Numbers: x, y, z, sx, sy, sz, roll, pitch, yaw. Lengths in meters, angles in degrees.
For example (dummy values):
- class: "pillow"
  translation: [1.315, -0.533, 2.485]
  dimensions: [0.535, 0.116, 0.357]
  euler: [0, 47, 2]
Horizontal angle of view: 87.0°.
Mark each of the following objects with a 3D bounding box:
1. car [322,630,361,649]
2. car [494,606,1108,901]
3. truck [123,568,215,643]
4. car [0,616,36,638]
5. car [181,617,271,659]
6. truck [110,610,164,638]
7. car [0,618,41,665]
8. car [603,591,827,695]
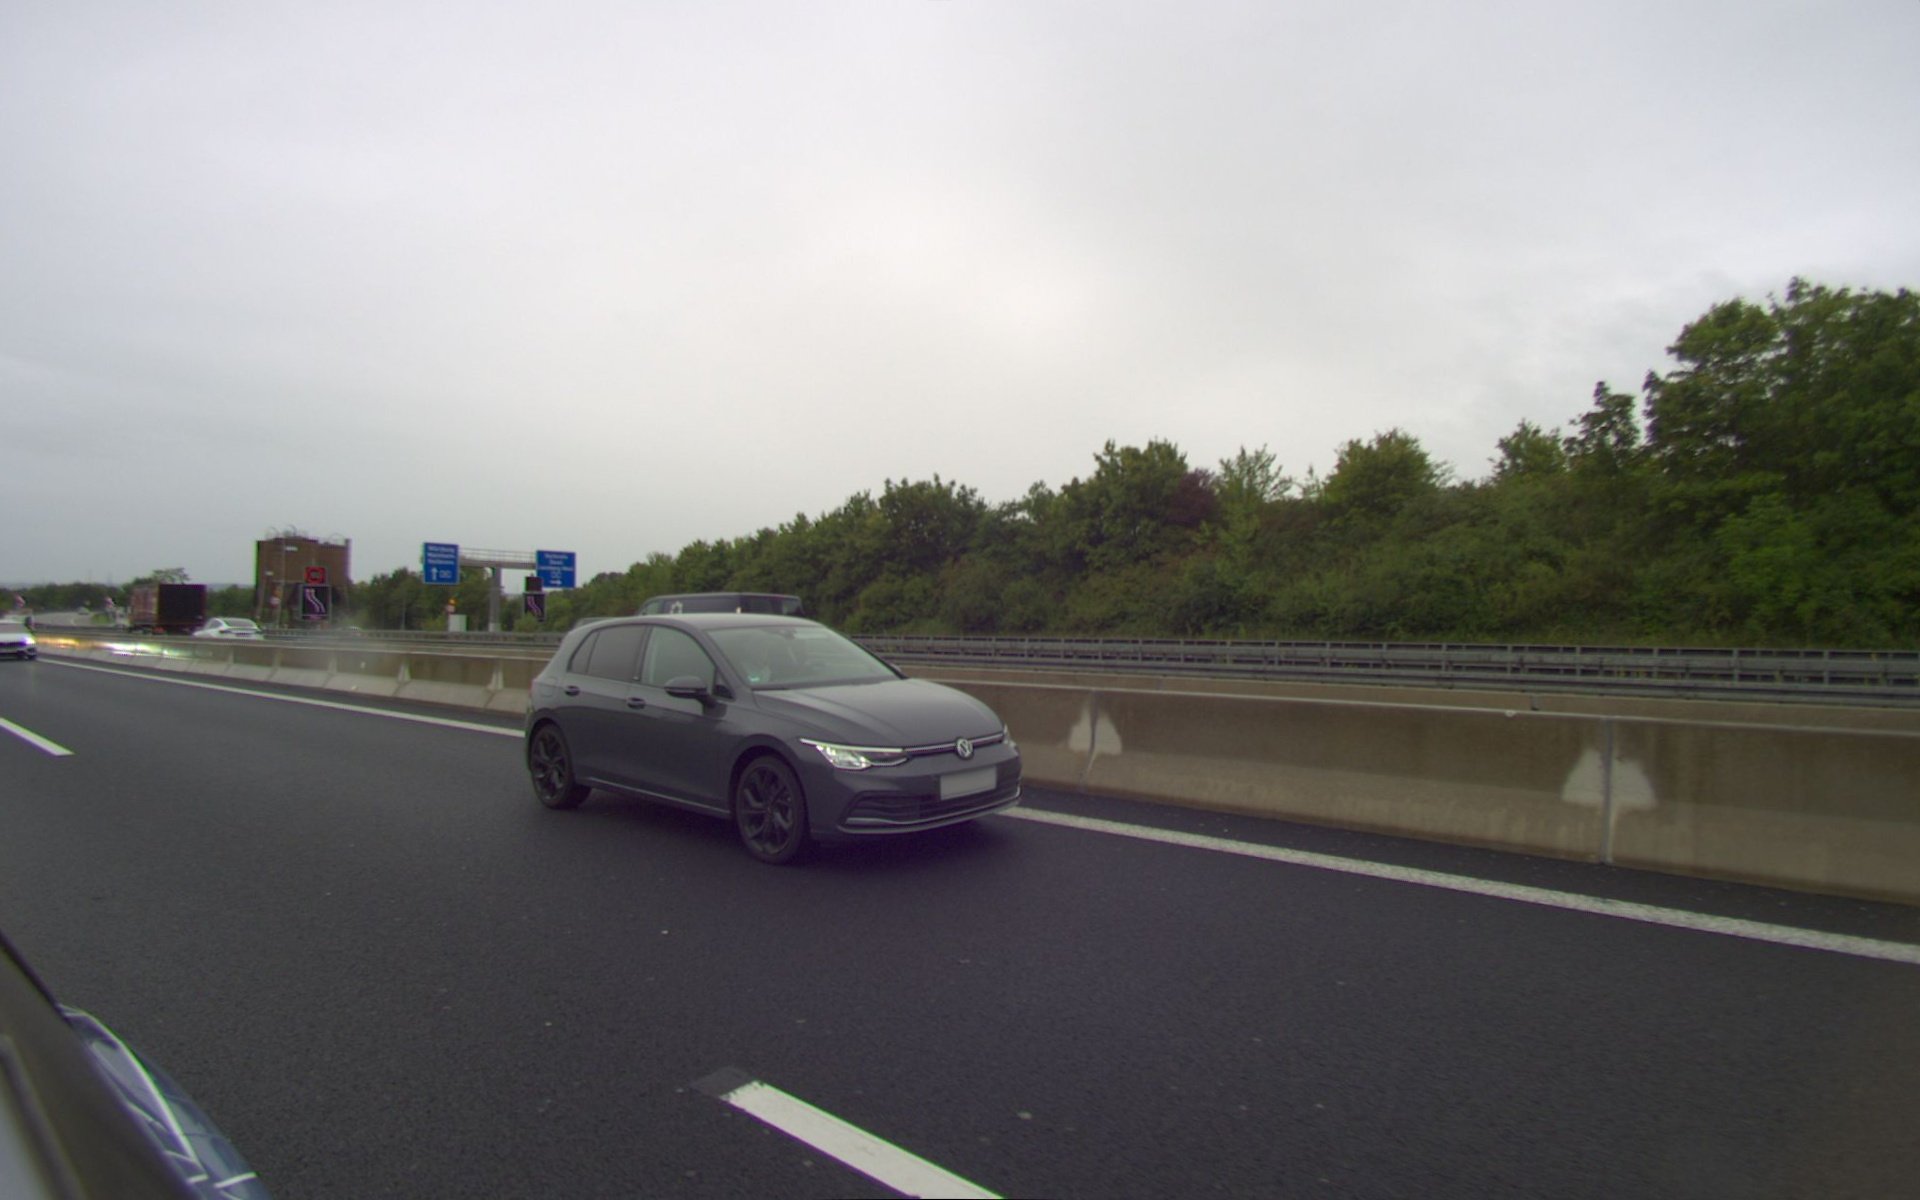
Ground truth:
- class: "car"
  translation: [-48.331, 3.095, 79.042]
  dimensions: [3.998, 1.409, 1.507]
  euler: [-1, -1, 41]
- class: "car"
  translation: [-1.324, 0.800, 7.072]
  dimensions: [4.363, 1.436, 1.812]
  euler: [-1, -1, 40]
- class: "truck"
  translation: [-53.938, 0.425, 68.871]
  dimensions: [10.485, 4.769, 3.363]
  euler: [-1, -1, 43]
- class: "car"
  translation: [-83.332, 2.399, 89.304]
  dimensions: [5.217, 1.877, 1.973]
  euler: [-1, -3, 40]
- class: "car"
  translation: [-33.129, 1.673, 45.641]
  dimensions: [4.955, 1.779, 2.134]
  euler: [-2, -1, 39]
- class: "truck"
  translation: [-118.060, 3.427, 145.001]
  dimensions: [17.128, 3.838, 3.144]
  euler: [-1, -3, 42]
- class: "car"
  translation: [-35.039, 1.502, 36.715]
  dimensions: [4.814, 1.603, 1.973]
  euler: [-1, -1, 41]
- class: "car"
  translation: [-5.033, 0.812, 20.435]
  dimensions: [4.675, 1.850, 1.974]
  euler: [-1, 0, 40]
